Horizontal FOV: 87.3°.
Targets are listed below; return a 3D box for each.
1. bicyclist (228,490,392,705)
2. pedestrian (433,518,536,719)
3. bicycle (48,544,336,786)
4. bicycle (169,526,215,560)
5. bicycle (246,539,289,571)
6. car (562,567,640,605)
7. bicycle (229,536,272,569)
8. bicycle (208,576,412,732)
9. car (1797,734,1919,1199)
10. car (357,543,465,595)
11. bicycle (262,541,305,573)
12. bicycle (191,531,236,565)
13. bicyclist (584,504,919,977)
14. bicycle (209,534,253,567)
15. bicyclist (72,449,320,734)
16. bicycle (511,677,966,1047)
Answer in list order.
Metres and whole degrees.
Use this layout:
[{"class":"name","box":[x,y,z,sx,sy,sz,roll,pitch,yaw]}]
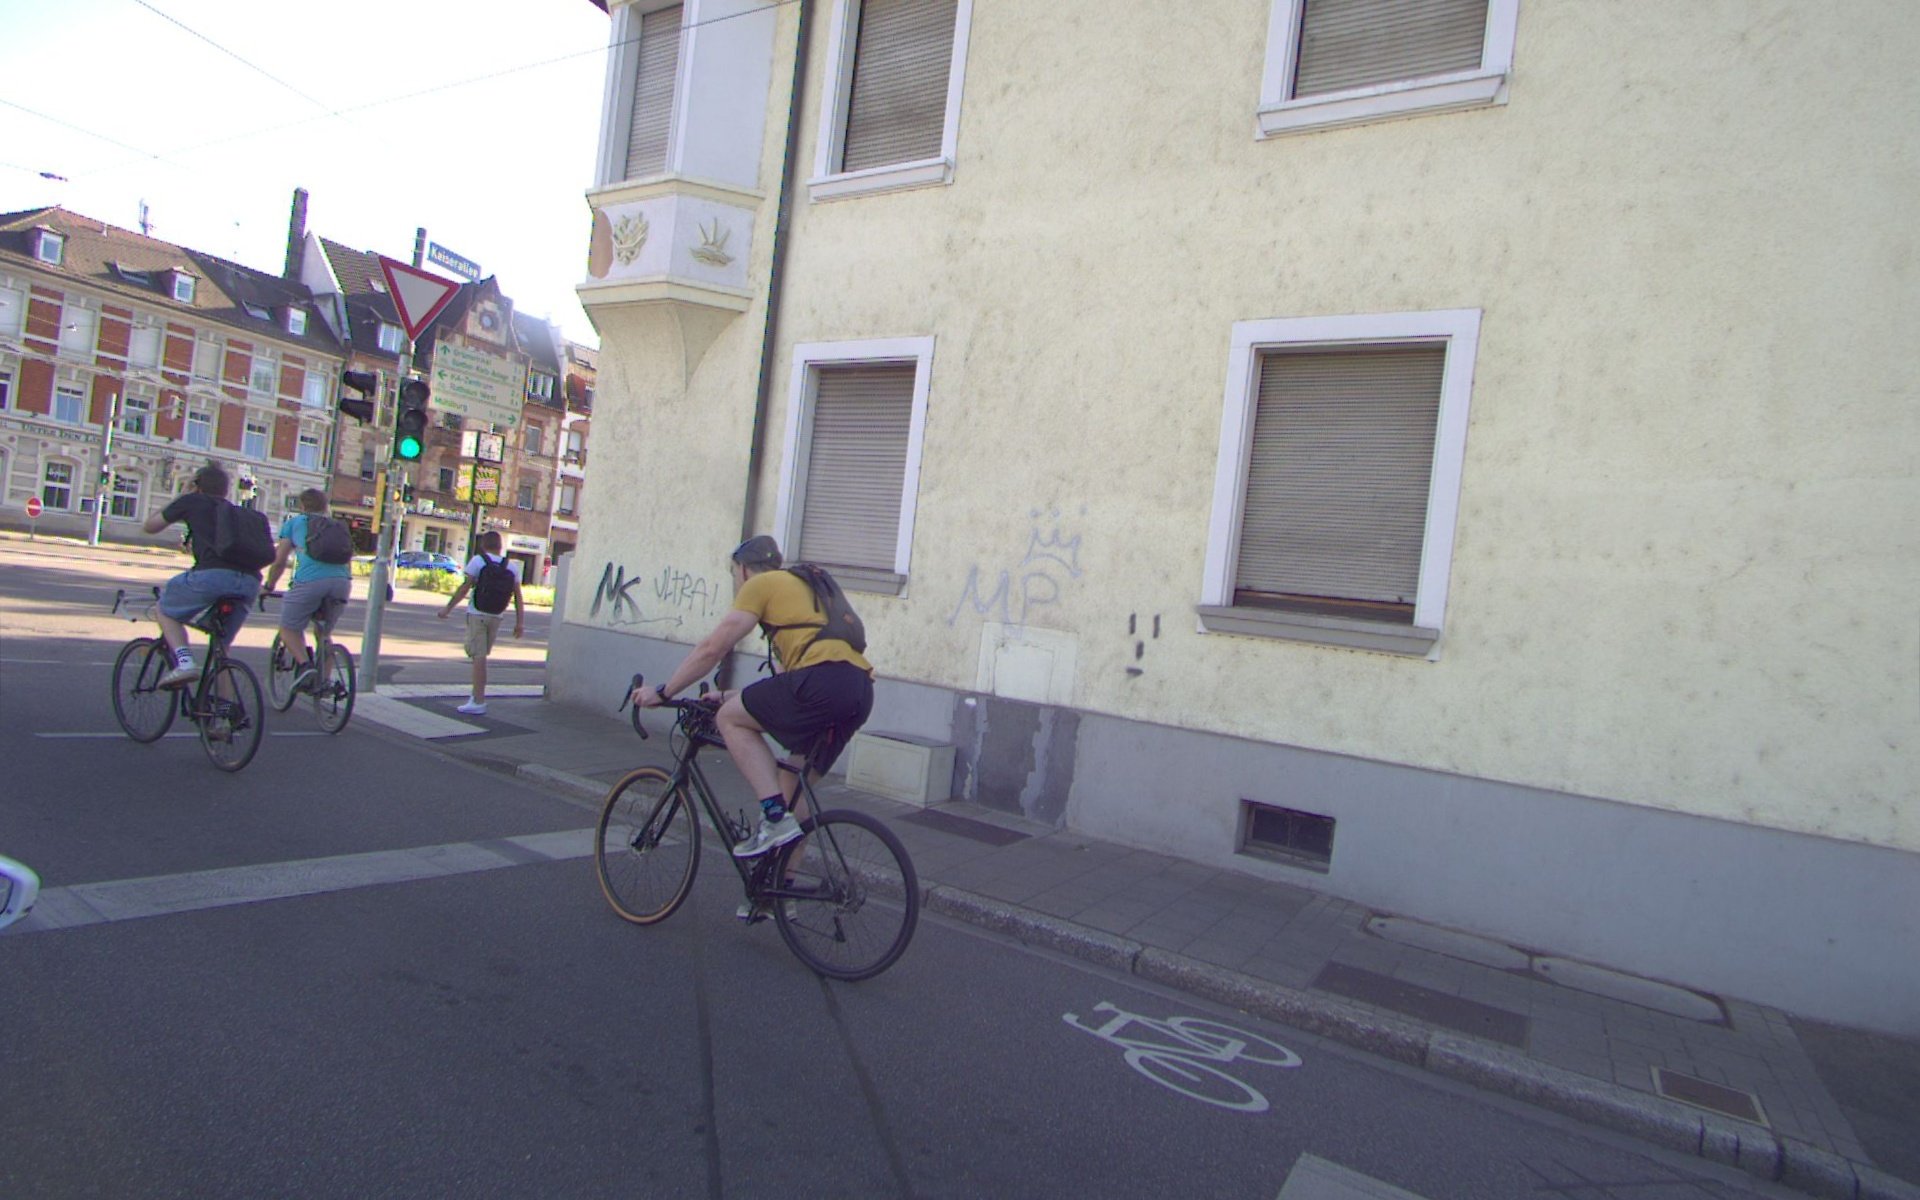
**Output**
[{"class":"bicyclist","box":[-5.398,-0.019,8.359,0.869,1.652,0.690,6,-1,34]},{"class":"pedestrian","box":[-4.440,0.164,9.419,0.631,1.780,0.584,4,3,-7]},{"class":"bicycle","box":[-4.876,0.373,6.370,1.674,1.251,0.756,6,-1,30]},{"class":"bicycle","box":[-34.615,-2.582,45.320,2.618,1.301,0.693,6,-1,33]},{"class":"bicycle","box":[-33.054,-2.153,47.999,2.618,1.301,0.629,6,-1,33]},{"class":"car","box":[-23.250,-0.884,65.293,1.967,1.798,4.374,6,-2,31]},{"class":"bicycle","box":[-33.419,-2.240,47.369,2.618,1.301,0.629,6,-1,33]},{"class":"bicycle","box":[-5.361,0.426,8.265,1.742,1.043,0.650,6,-1,33]},{"class":"car","box":[3.247,1.230,0.564,3.983,1.525,1.732,9,-1,32]},{"class":"car","box":[-25.507,-1.409,46.856,1.967,1.798,3.790,6,-2,31]},{"class":"bicycle","box":[-32.684,-2.078,48.588,2.618,1.301,0.629,6,-1,33]},{"class":"bicycle","box":[-34.203,-2.386,46.073,2.618,1.301,0.693,6,-1,33]},{"class":"bicyclist","box":[-0.852,0.524,4.211,0.869,1.682,0.807,6,-1,32]},{"class":"bicycle","box":[-33.837,-2.315,46.697,2.618,1.301,0.629,6,-1,33]},{"class":"bicyclist","box":[-4.779,-0.041,6.317,0.868,1.625,0.807,7,-1,30]},{"class":"bicycle","box":[-0.967,0.971,4.242,1.751,1.043,0.756,6,-2,33]}]
